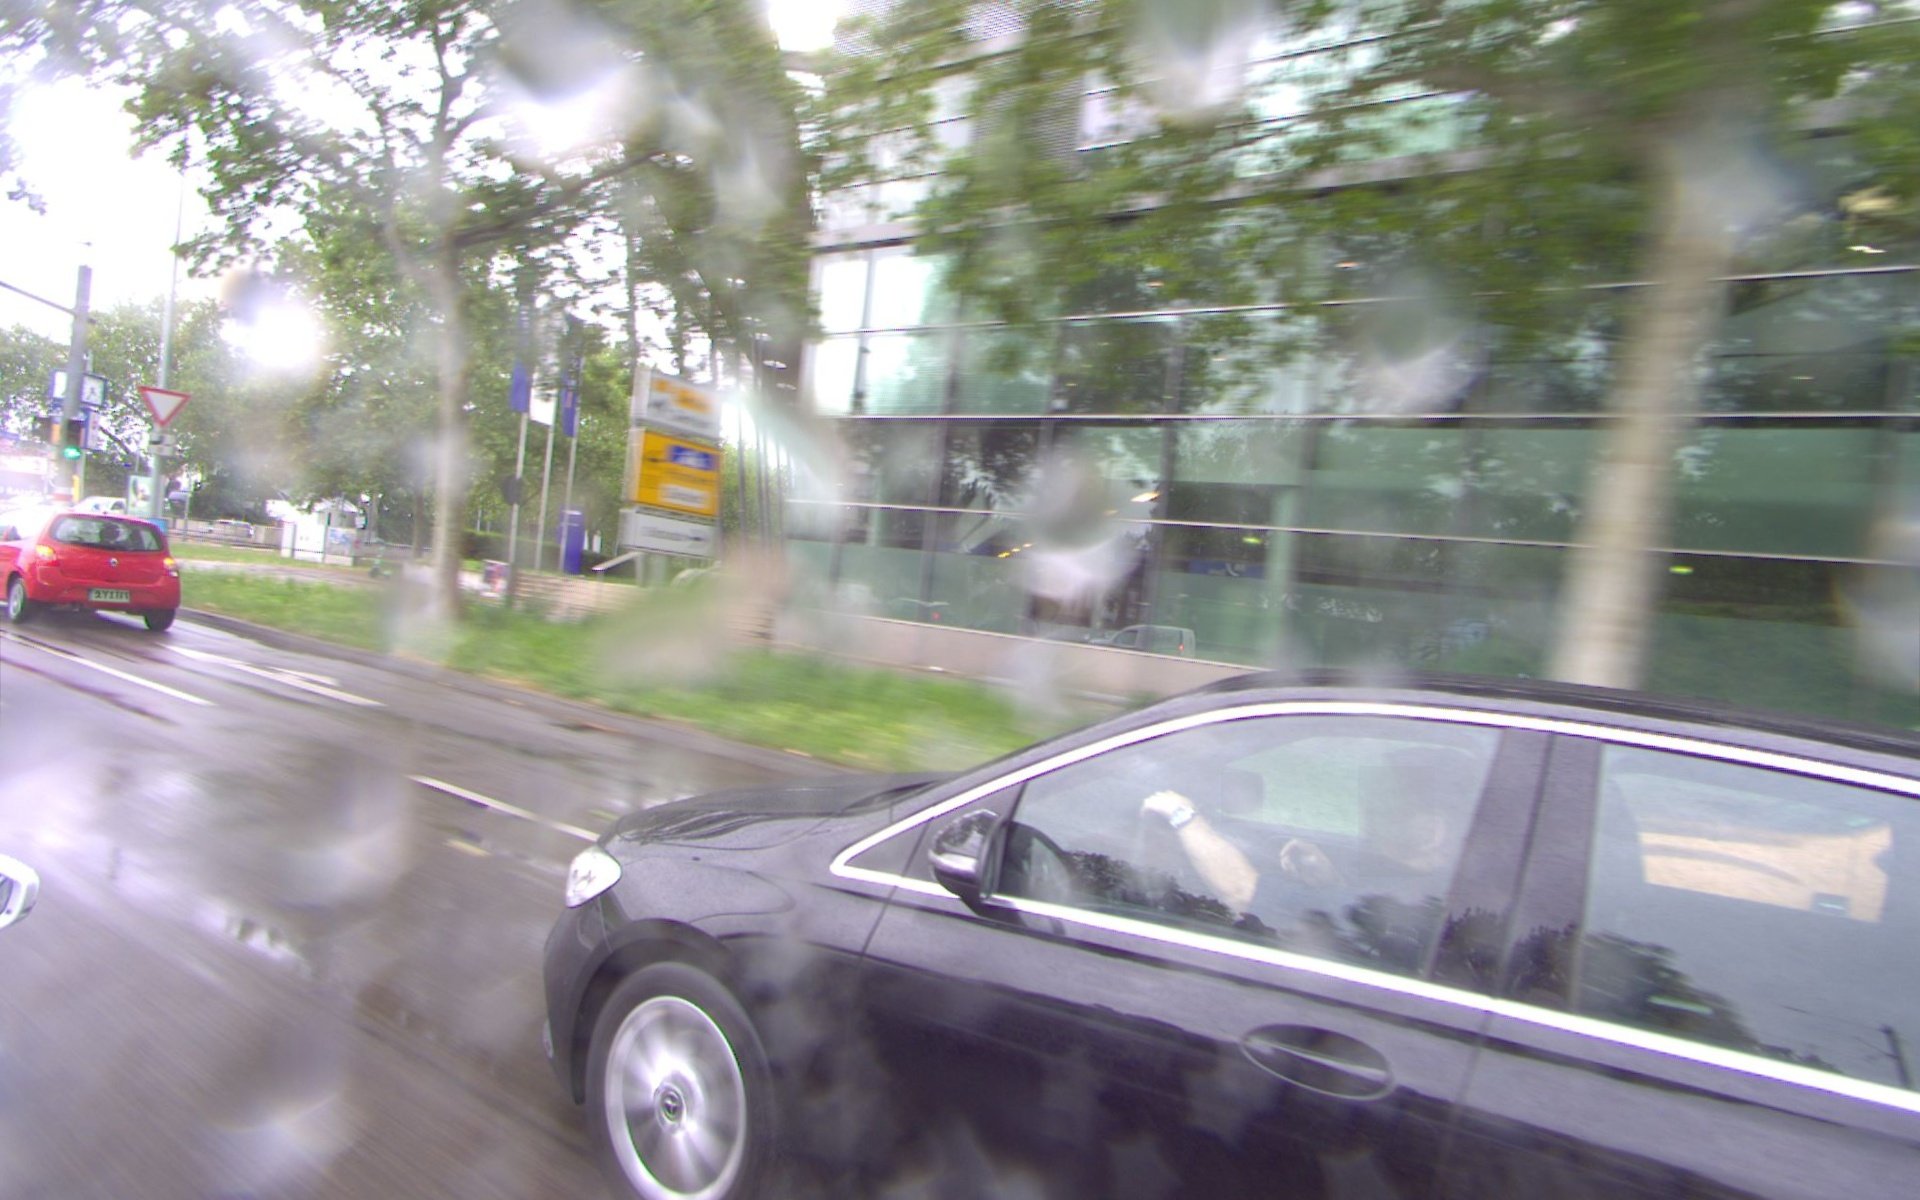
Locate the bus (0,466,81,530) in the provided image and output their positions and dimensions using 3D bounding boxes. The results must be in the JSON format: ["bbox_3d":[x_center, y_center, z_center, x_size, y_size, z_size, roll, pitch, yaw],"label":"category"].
[{"bbox_3d":[-59.594,-6.565,58.485,3.220,3.309,12.264,7,0,31],"label":"bus"}]

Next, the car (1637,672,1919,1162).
[{"bbox_3d":[5.079,1.367,3.683,4.102,1.652,1.901,7,0,33],"label":"car"}]

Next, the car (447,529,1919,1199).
[{"bbox_3d":[0.879,0.834,2.362,4.021,1.542,1.871,7,0,33],"label":"car"}]

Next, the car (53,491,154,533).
[{"bbox_3d":[-50.572,-5.143,59.511,2.041,1.872,4.742,6,0,-5],"label":"car"}]

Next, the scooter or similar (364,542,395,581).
[{"bbox_3d":[-18.084,-1.192,31.370,0.335,1.153,1.173,6,1,-8],"label":"scooter or similar"}]

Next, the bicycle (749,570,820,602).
[{"bbox_3d":[-9.765,-0.770,56.025,3.655,1.349,1.182,7,0,-31],"label":"bicycle"}]

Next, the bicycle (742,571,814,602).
[{"bbox_3d":[-10.457,-0.782,58.065,3.932,1.349,1.190,7,1,-10],"label":"bicycle"}]

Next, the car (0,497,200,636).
[{"bbox_3d":[-12.067,-0.514,13.496,3.561,1.509,1.681,7,-1,31],"label":"car"}]

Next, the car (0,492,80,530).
[{"bbox_3d":[-53.157,-5.110,57.545,1.899,1.671,4.338,6,0,-5],"label":"car"}]
